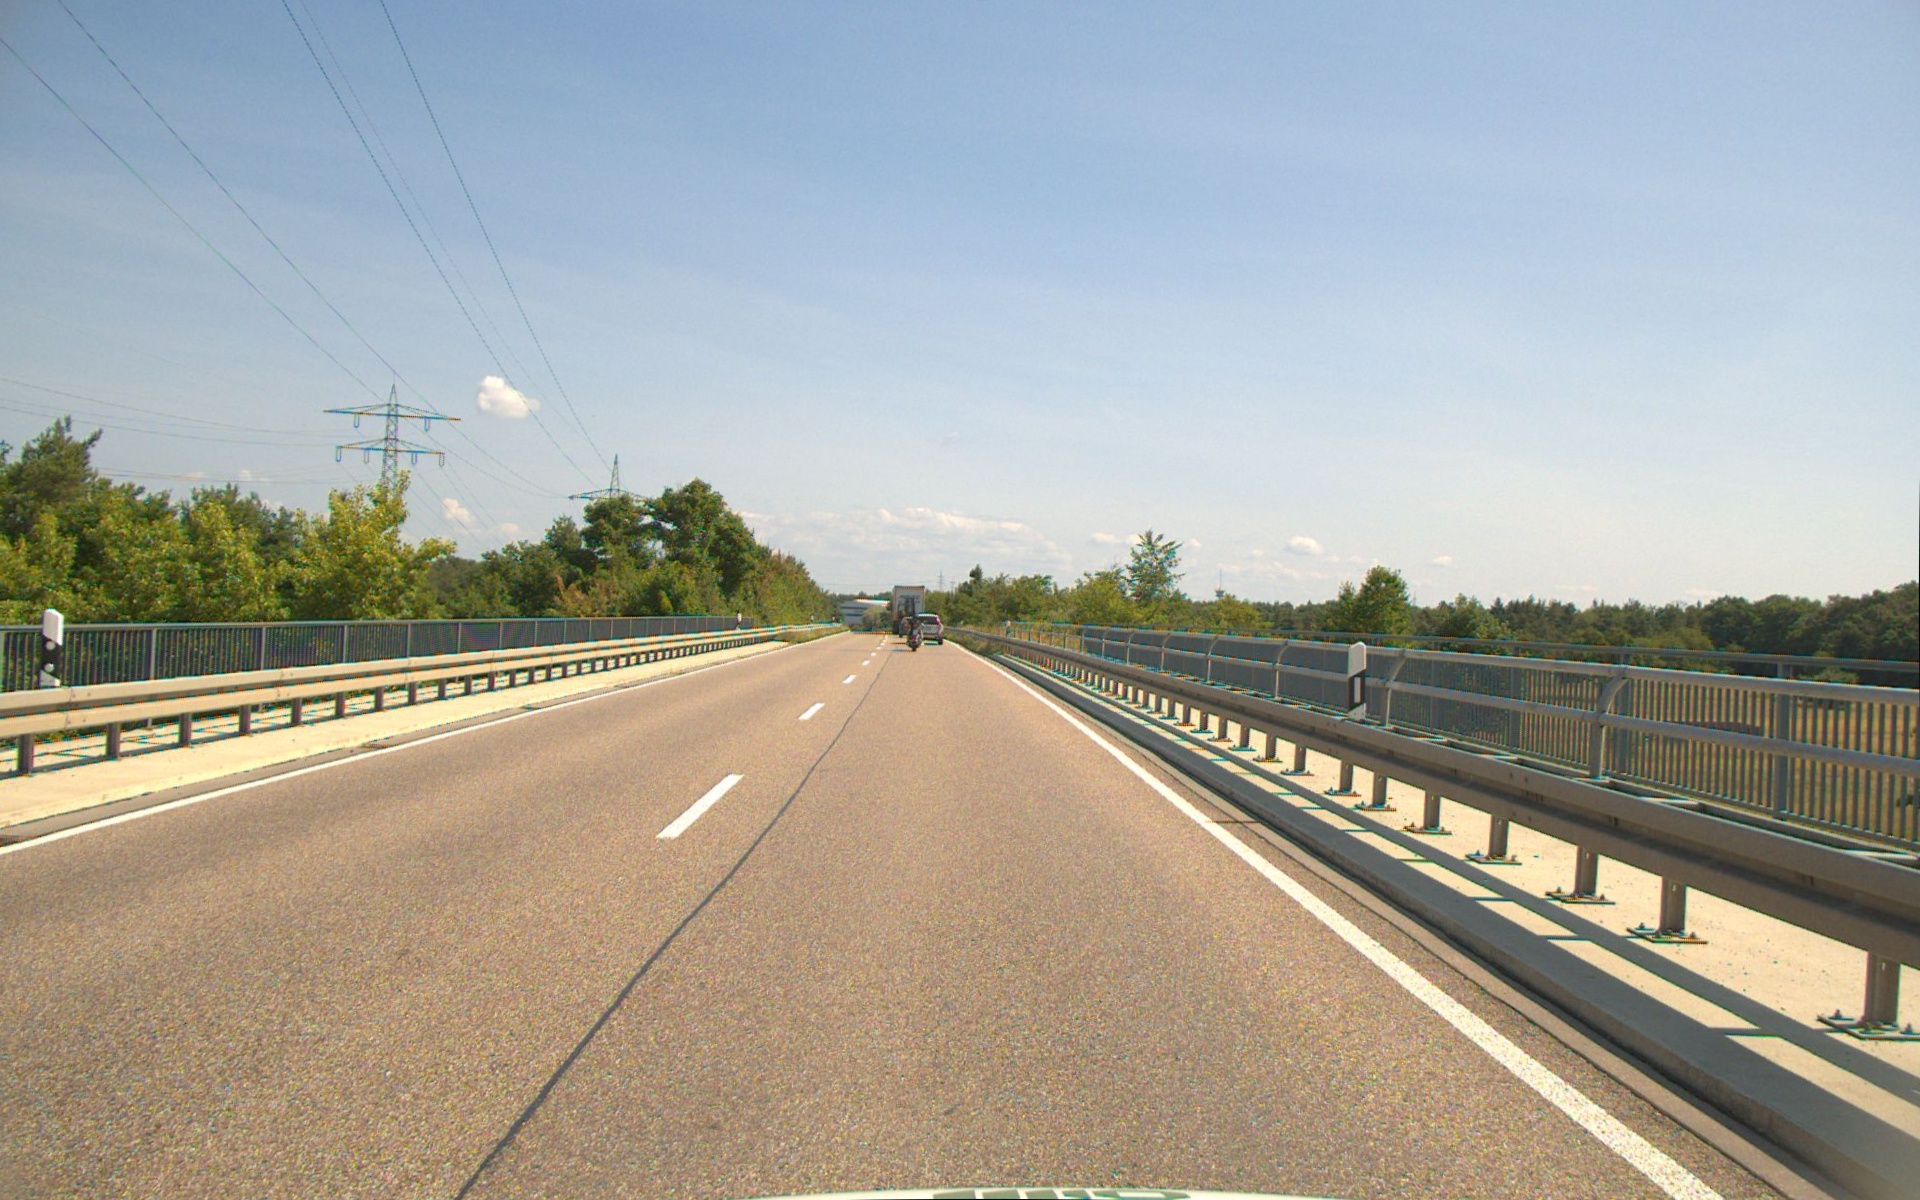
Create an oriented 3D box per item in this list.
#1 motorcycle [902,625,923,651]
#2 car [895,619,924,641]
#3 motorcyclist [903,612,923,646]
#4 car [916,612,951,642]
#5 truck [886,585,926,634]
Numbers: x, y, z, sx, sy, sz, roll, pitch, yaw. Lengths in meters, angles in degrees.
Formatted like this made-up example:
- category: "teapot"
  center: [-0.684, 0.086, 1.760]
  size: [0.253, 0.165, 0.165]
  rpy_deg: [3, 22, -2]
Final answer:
- category: "motorcycle"
  center: [-1.948, 1.551, 68.133]
  size: [0.764, 0.993, 2.361]
  rpy_deg: [1, 0, 0]
- category: "car"
  center: [-3.536, 2.096, 116.273]
  size: [1.828, 1.445, 4.000]
  rpy_deg: [2, 0, 0]
- category: "motorcyclist"
  center: [-1.931, 1.196, 68.155]
  size: [0.764, 1.349, 0.813]
  rpy_deg: [1, 0, 0]
- category: "car"
  center: [-1.398, 1.411, 87.196]
  size: [1.788, 1.477, 3.999]
  rpy_deg: [1, 0, -1]
- category: "truck"
  center: [-4.610, 0.857, 143.668]
  size: [3.176, 4.048, 9.441]
  rpy_deg: [1, -1, -1]
